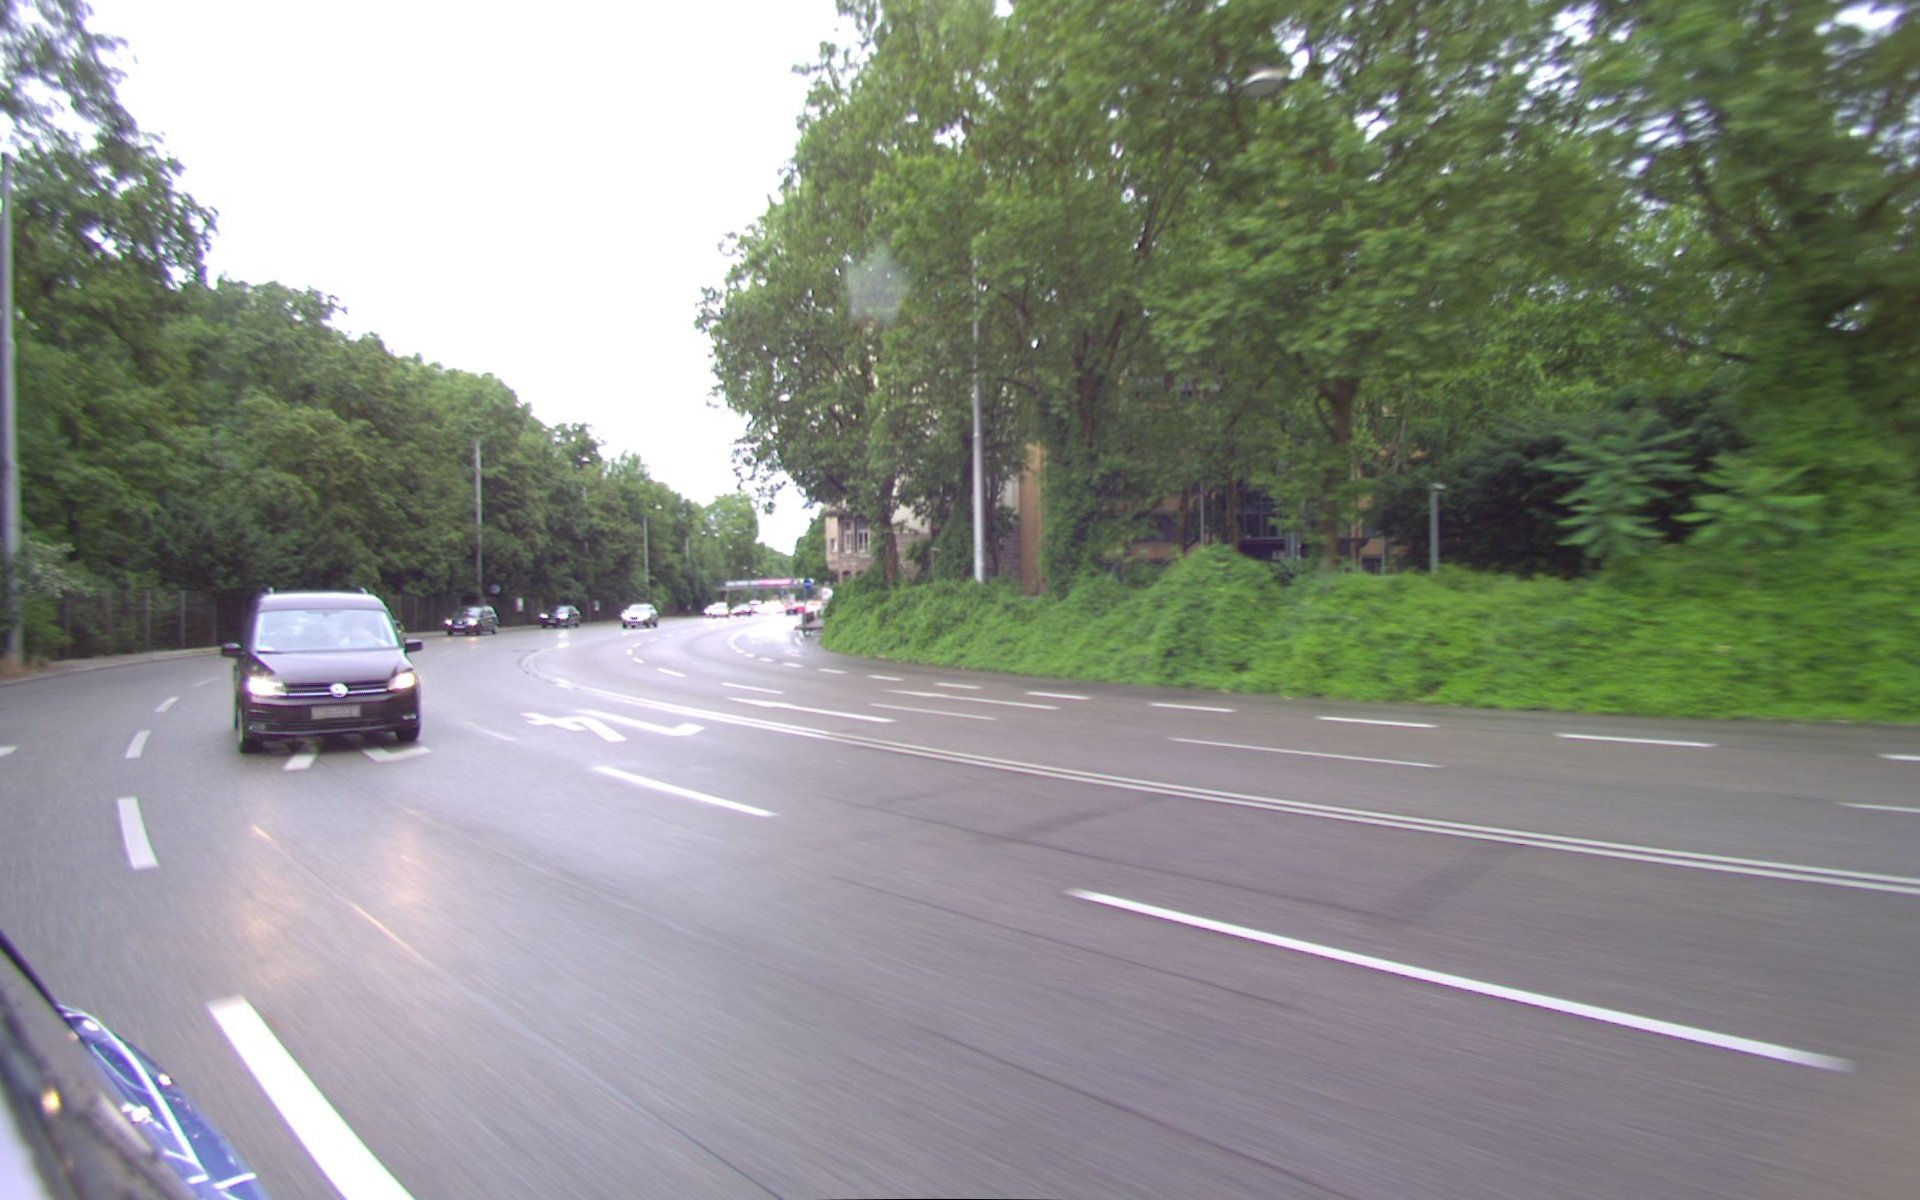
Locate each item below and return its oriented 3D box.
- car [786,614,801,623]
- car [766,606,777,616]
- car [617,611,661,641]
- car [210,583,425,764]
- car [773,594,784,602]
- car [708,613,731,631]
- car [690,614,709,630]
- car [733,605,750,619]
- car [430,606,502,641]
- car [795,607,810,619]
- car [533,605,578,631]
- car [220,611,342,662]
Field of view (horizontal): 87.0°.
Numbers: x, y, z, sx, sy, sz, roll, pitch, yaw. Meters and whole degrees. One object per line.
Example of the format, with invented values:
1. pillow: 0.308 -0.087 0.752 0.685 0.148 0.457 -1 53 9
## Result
1. car: -24.329 2.716 148.281 1.682 1.349 3.917 -1 0 -2
2. car: -37.141 2.144 199.293 1.850 1.785 4.006 -3 1 -7
3. car: -21.946 1.751 69.273 1.679 1.811 3.802 -3 1 1
4. car: -7.874 0.761 12.234 1.814 1.804 4.008 0 -1 -38
5. car: -39.332 -0.448 219.383 1.798 1.624 4.003 -3 1 -3
6. car: -28.159 2.555 118.558 1.969 1.918 4.006 -3 1 -6
7. car: -33.468 2.820 130.182 1.850 1.785 4.006 -3 1 -7
8. car: -30.781 1.629 142.903 1.851 1.785 4.006 -3 1 -6
9. car: -25.898 1.199 53.167 1.778 1.608 4.000 -3 1 0
10. car: -27.803 2.303 179.111 1.831 2.028 3.939 -3 1 3
11. car: -28.038 1.251 70.220 1.775 1.608 4.005 -3 1 -5
12. car: -22.009 1.139 32.981 1.705 1.450 4.007 -2 0 -8
